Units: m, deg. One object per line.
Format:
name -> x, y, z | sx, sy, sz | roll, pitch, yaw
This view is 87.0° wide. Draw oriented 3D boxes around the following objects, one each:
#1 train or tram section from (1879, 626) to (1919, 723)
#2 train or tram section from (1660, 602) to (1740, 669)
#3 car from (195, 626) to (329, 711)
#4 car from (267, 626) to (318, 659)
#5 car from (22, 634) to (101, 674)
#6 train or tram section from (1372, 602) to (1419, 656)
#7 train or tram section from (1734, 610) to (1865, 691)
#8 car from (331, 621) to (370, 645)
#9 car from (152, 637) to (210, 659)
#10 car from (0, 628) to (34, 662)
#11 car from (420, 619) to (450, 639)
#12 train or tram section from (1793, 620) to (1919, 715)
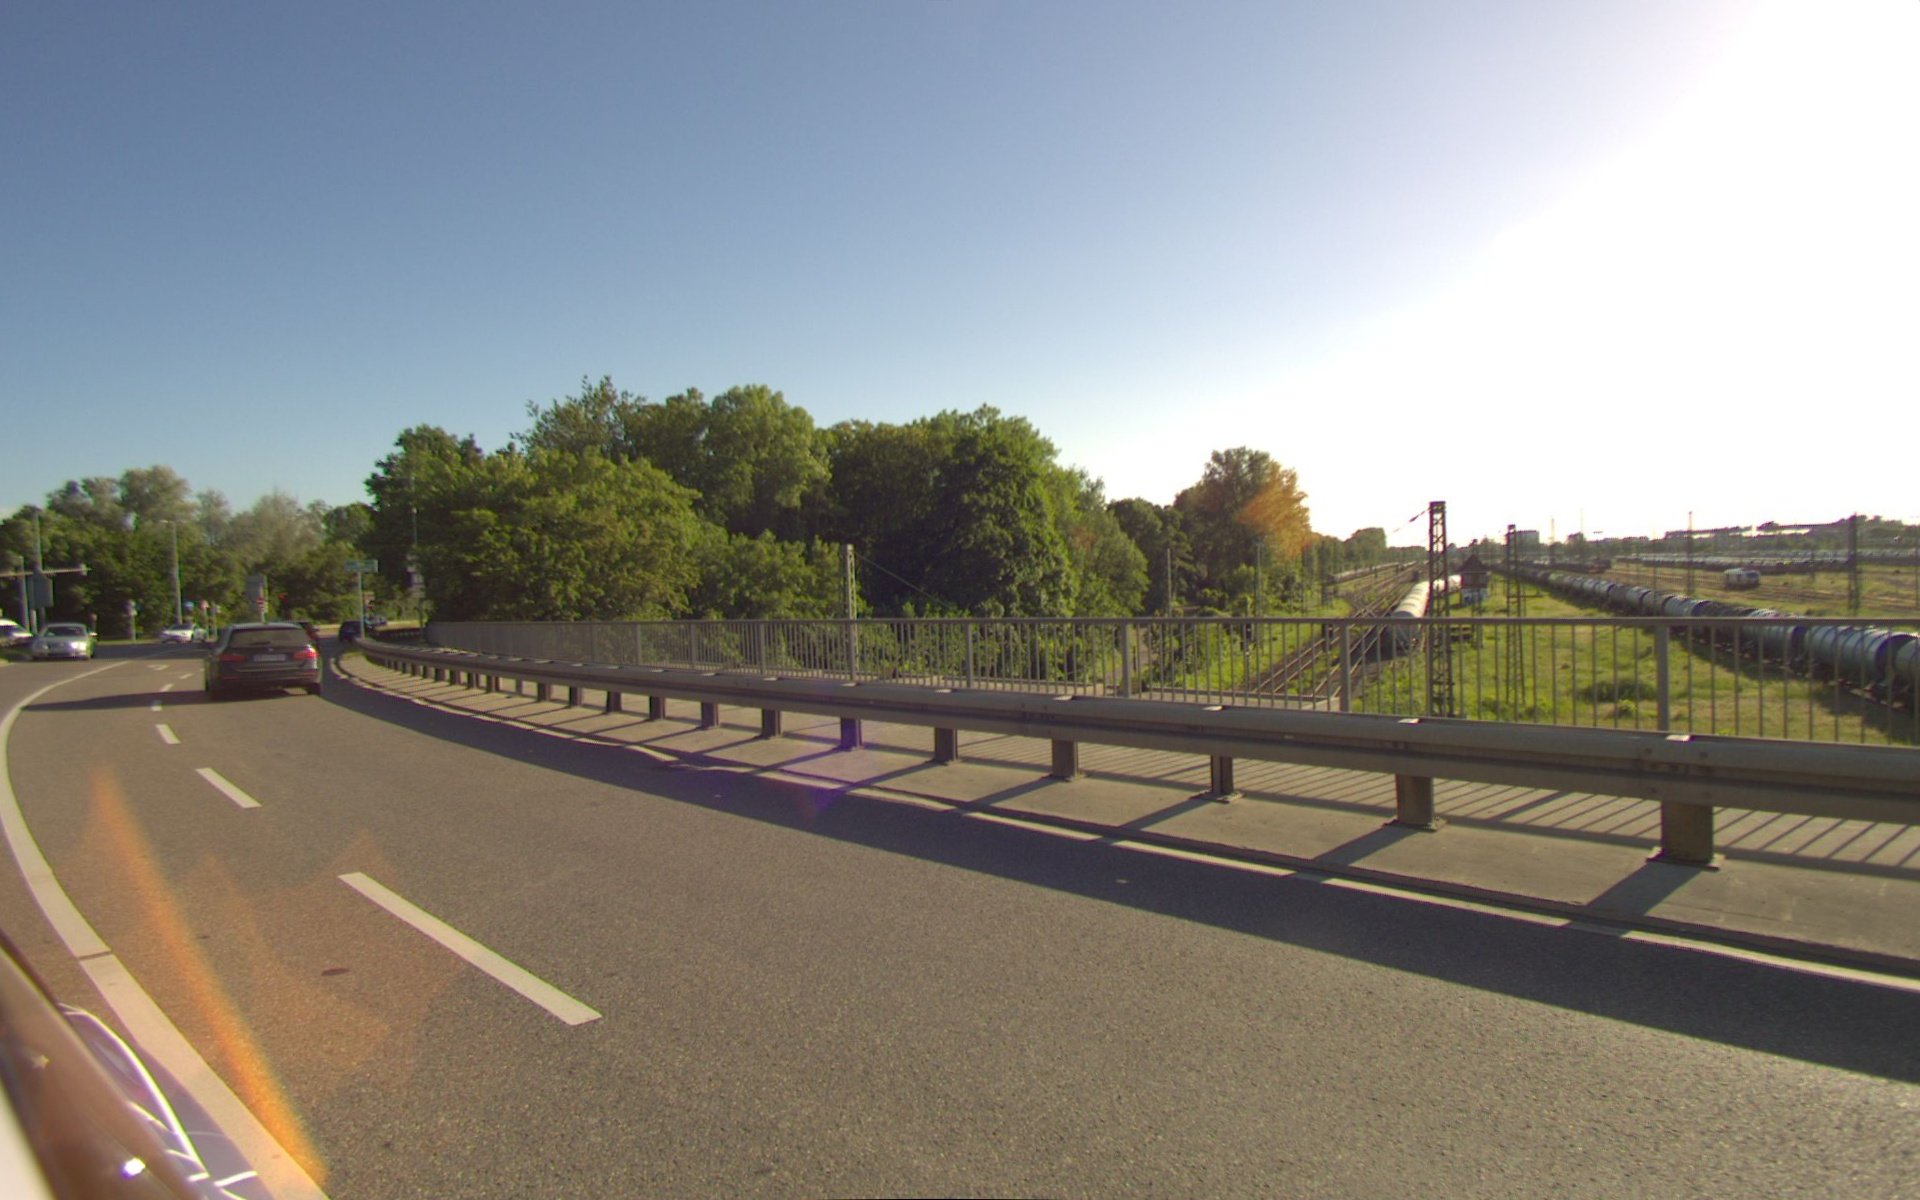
train or tram section -> 51.763, 4.044, 50.573 | 3.884, 5.054, 16.523 | -2, -1, 26
train or tram section -> 80.255, 3.676, 110.198 | 3.884, 6.661, 16.362 | -2, -1, 26
car -> -14.078, 1.285, 20.310 | 1.850, 1.450, 4.329 | -1, -1, -39
car -> -31.659, 2.005, 48.097 | 1.757, 1.448, 3.887 | -1, -1, -29
car -> -35.981, 2.128, 40.620 | 1.736, 1.447, 4.342 | -1, -1, -33
train or tram section -> 46.082, 2.870, 106.654 | 4.025, 5.125, 19.192 | -2, -1, 25
train or tram section -> 65.863, 3.734, 80.047 | 3.884, 5.560, 16.362 | -2, -1, 26
car -> -40.586, 2.168, 67.476 | 1.700, 1.497, 4.421 | -1, -1, -25
car -> -58.608, 3.612, 76.237 | 1.961, 1.484, 4.141 | -1, -1, -15
car -> -76.101, 3.662, 78.941 | 5.623, 2.518, 2.116 | -3, -1, -2
car -> -46.554, 2.571, 89.861 | 1.779, 1.650, 4.012 | -1, -1, -19
train or tram section -> 58.845, 4.020, 65.349 | 3.884, 5.054, 16.225 | -2, -1, 26
